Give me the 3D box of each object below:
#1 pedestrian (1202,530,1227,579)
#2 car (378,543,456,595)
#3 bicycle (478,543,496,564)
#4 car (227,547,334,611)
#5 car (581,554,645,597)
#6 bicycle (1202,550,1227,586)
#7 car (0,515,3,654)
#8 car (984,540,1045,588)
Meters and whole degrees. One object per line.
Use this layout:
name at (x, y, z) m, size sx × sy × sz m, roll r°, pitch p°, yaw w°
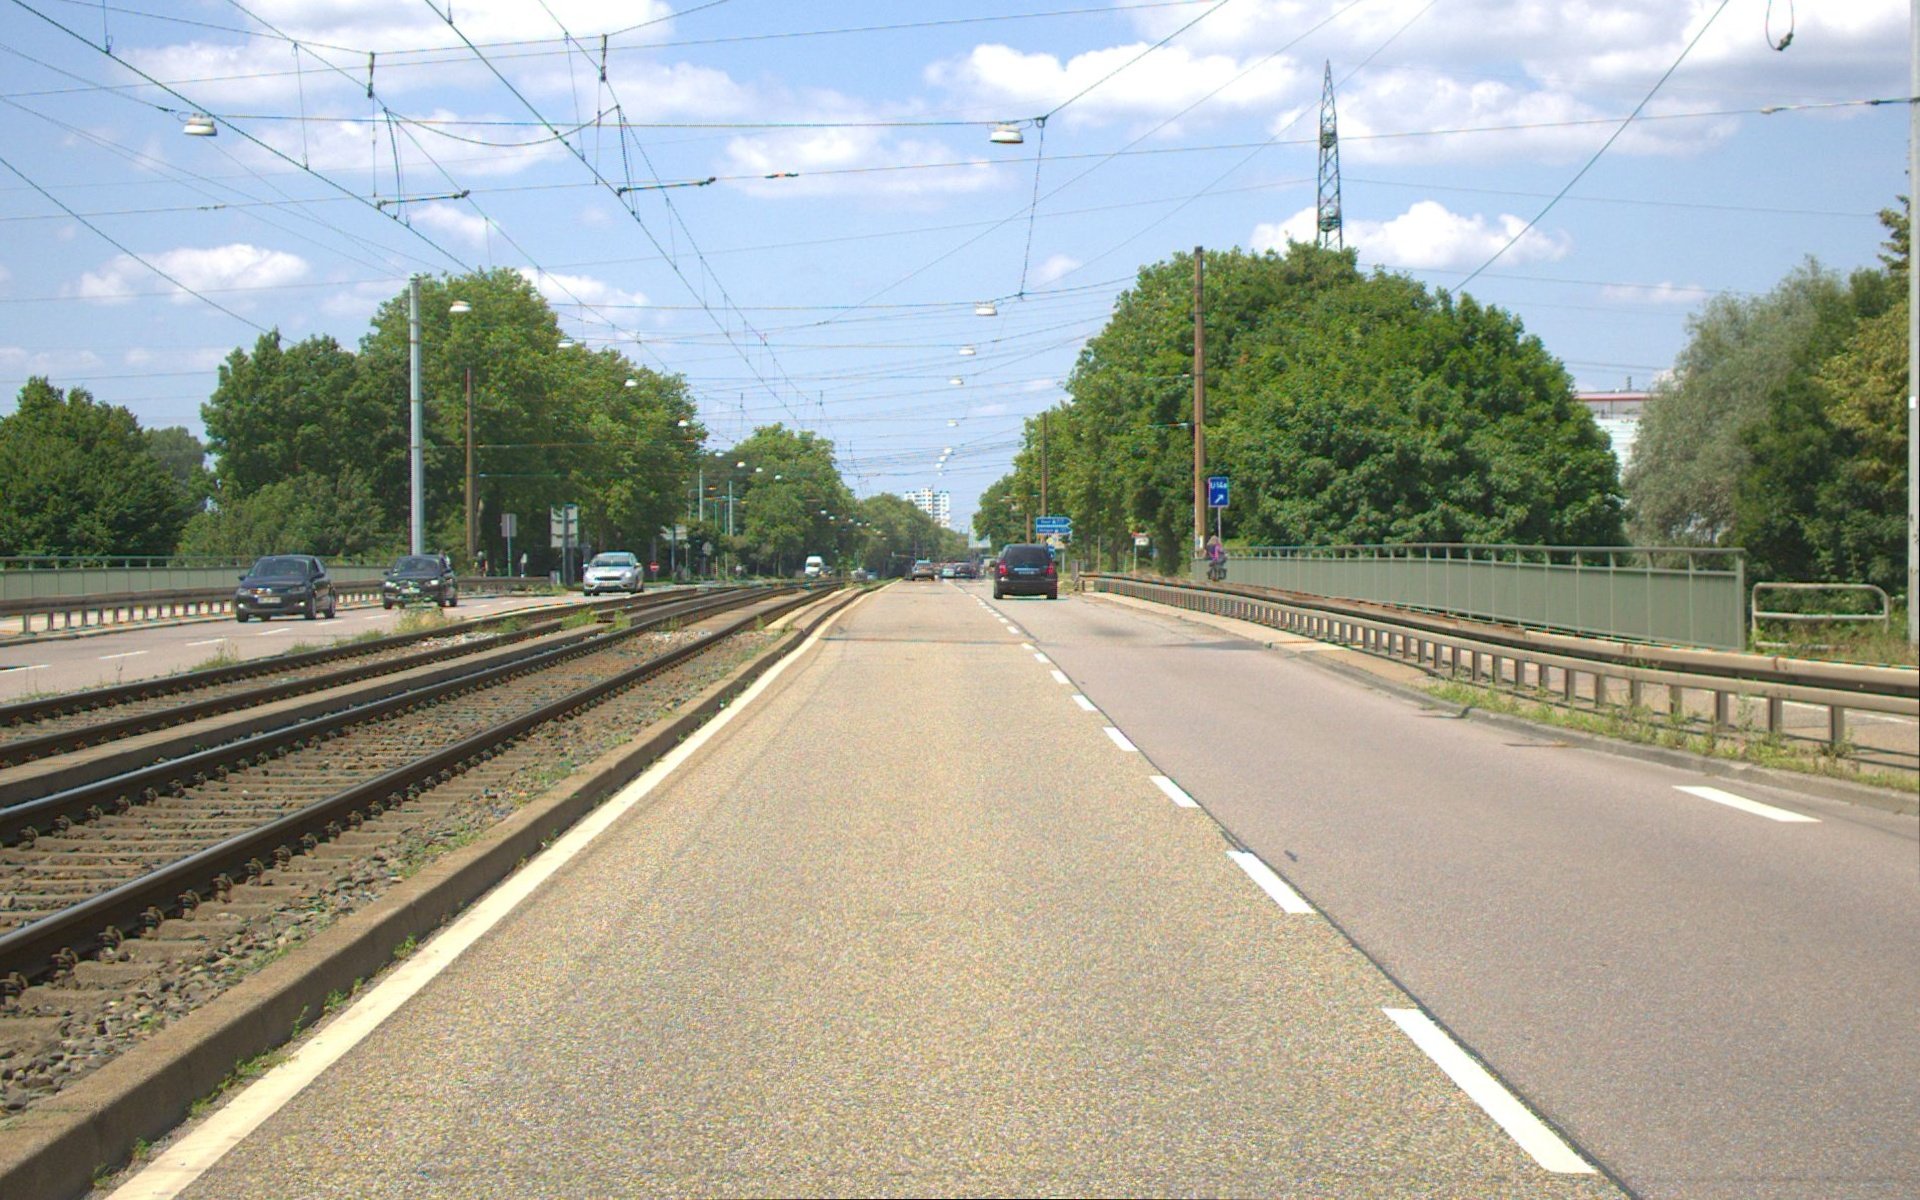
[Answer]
pedestrian at (7.239, -1.300, 97.935) m, size 0.628 × 1.369 × 1.050 m, roll 0°, pitch 0°, yaw 0°
car at (-14.964, -0.847, 94.840) m, size 1.574 × 1.395 × 3.938 m, roll 0°, pitch 1°, yaw -1°
bicycle at (-19.394, -1.920, 140.858) m, size 0.522 × 0.840 × 2.036 m, roll 2°, pitch 1°, yaw -3°
car at (-14.904, -0.470, 75.598) m, size 1.563 × 1.343 × 3.929 m, roll -1°, pitch 1°, yaw 0°
car at (-11.783, -0.836, 116.996) m, size 1.711 × 1.415 × 4.624 m, roll -1°, pitch 1°, yaw 0°
bicycle at (7.238, -0.912, 97.965) m, size 0.559 × 1.021 × 1.848 m, roll 0°, pitch 0°, yaw 0°
car at (-14.135, -0.177, 44.887) m, size 1.811 × 1.918 × 5.179 m, roll -1°, pitch 1°, yaw 0°
car at (1.539, -1.037, 97.927) m, size 1.586 × 1.338 × 3.273 m, roll 0°, pitch 1°, yaw -2°
